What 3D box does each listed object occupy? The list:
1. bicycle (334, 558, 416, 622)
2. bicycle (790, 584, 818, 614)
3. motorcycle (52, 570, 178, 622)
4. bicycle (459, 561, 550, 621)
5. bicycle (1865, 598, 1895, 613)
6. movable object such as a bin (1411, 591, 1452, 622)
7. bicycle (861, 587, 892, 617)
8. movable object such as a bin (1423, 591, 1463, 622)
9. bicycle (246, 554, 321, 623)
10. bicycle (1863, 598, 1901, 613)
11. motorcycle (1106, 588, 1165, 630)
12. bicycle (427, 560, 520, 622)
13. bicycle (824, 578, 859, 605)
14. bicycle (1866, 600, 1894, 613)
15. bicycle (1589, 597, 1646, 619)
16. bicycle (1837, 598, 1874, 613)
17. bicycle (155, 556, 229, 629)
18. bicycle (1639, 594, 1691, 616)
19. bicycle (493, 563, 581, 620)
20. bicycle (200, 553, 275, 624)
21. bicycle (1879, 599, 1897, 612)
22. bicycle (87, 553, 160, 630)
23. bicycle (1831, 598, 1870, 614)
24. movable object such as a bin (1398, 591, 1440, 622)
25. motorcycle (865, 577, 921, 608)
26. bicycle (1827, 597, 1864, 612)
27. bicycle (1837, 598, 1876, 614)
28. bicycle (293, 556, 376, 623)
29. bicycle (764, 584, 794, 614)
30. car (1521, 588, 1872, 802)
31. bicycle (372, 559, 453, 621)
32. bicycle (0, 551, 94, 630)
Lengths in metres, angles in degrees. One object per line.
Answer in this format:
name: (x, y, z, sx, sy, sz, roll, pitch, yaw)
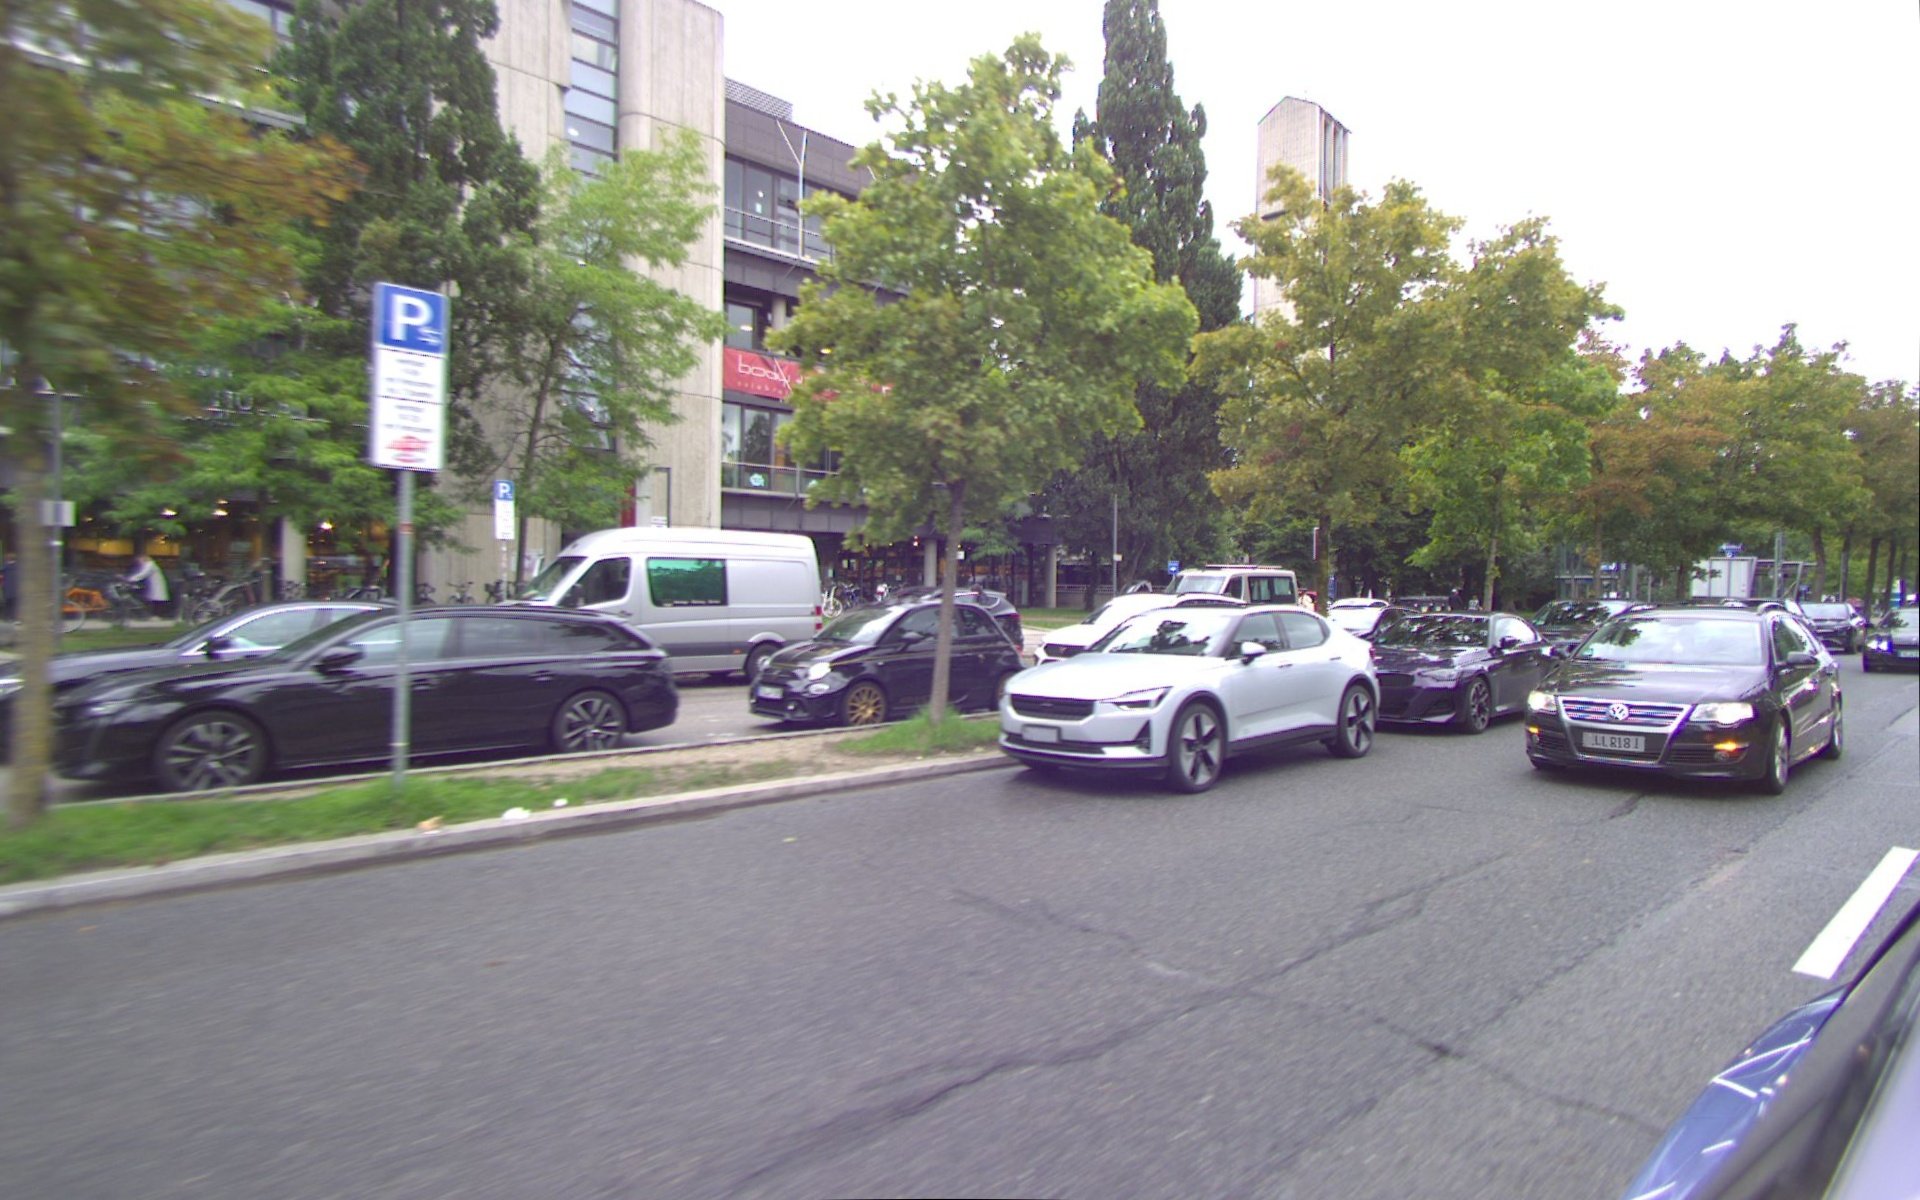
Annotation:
bicycle: (-14.564, -0.274, 25.147, 2.602, 1.527, 0.788, 1, 1, 37)
bicycle: (-5.132, -0.045, 33.406, 0.732, 0.970, 2.049, 1, 1, -4)
motorcycle: (-20.597, -0.111, 24.717, 2.326, 1.212, 0.948, 0, 1, -41)
bicycle: (-12.158, -0.258, 26.975, 2.594, 1.527, 0.790, 1, 1, 29)
bicycle: (83.864, 0.489, 92.229, 1.936, 1.227, 0.559, 3, 2, 39)
movable object such as a bin: (22.290, 0.289, 47.859, 1.292, 1.427, 1.338, 0, 1, -42)
bicycle: (-2.773, 0.056, 33.726, 0.733, 0.970, 2.046, 1, 1, 3)
movable object such as a bin: (23.278, 0.290, 48.741, 1.292, 1.427, 1.338, 0, 1, -42)
bicycle: (-15.777, -0.275, 23.569, 2.607, 1.527, 0.786, 1, 1, 41)
bicycle: (79.425, 0.480, 87.208, 0.574, 1.171, 2.343, 1, 3, -40)
motorcycle: (5.753, 0.284, 33.170, 2.030, 1.306, 0.698, 0, 5, -41)
bicycle: (-12.584, -0.254, 26.137, 2.594, 1.527, 0.790, 1, 1, 29)
bicycle: (-3.912, -0.289, 33.526, 0.757, 0.881, 2.401, 1, 1, 3)
bicycle: (84.672, 0.560, 93.170, 1.803, 1.085, 0.559, 3, 2, 39)
bicycle: (35.985, 0.429, 55.392, 0.636, 1.102, 2.547, 0, 1, -40)
bicycle: (78.987, 0.445, 89.310, 0.574, 1.171, 2.343, 1, 3, -40)
bicycle: (-16.906, -0.183, 22.255, 2.607, 1.527, 0.786, 1, 1, 41)
bicycle: (43.252, 0.312, 62.099, 0.636, 1.296, 2.547, 0, 1, -40)
bicycle: (-11.619, -0.252, 27.774, 2.594, 1.527, 0.790, 1, 1, 29)
bicycle: (-16.340, -0.268, 22.854, 2.607, 1.527, 0.786, 1, 1, 41)
bicycle: (86.108, 0.496, 93.916, 1.962, 1.213, 0.864, 0, 2, -37)
bicycle: (-17.673, -0.194, 21.354, 2.607, 1.527, 0.786, 1, 1, 41)
bicycle: (73.929, 0.506, 83.995, 0.520, 1.171, 2.343, 1, 3, -40)
movable object such as a bin: (21.305, 0.290, 46.969, 1.292, 1.427, 1.338, 0, 1, -42)
motorcycle: (-2.762, -0.308, 42.039, 0.868, 1.244, 2.342, 3, 2, 42)
bicycle: (78.160, 0.428, 89.302, 0.574, 1.171, 2.343, 1, 3, -40)
bicycle: (74.758, 0.505, 84.403, 2.337, 1.171, 0.521, 4, 3, 42)
bicycle: (-15.066, -0.274, 24.345, 2.602, 1.527, 0.788, 1, 1, 37)
bicycle: (-5.937, -0.043, 33.308, 0.732, 0.970, 2.049, 1, 1, -4)
car: (6.913, 0.654, 9.285, 4.592, 1.493, 1.749, 0, 0, -43)
bicycle: (-13.994, -0.279, 25.825, 2.602, 1.527, 0.788, 1, 1, 37)
bicycle: (-18.594, -0.211, 20.222, 2.586, 1.527, 0.793, 1, 0, 20)
